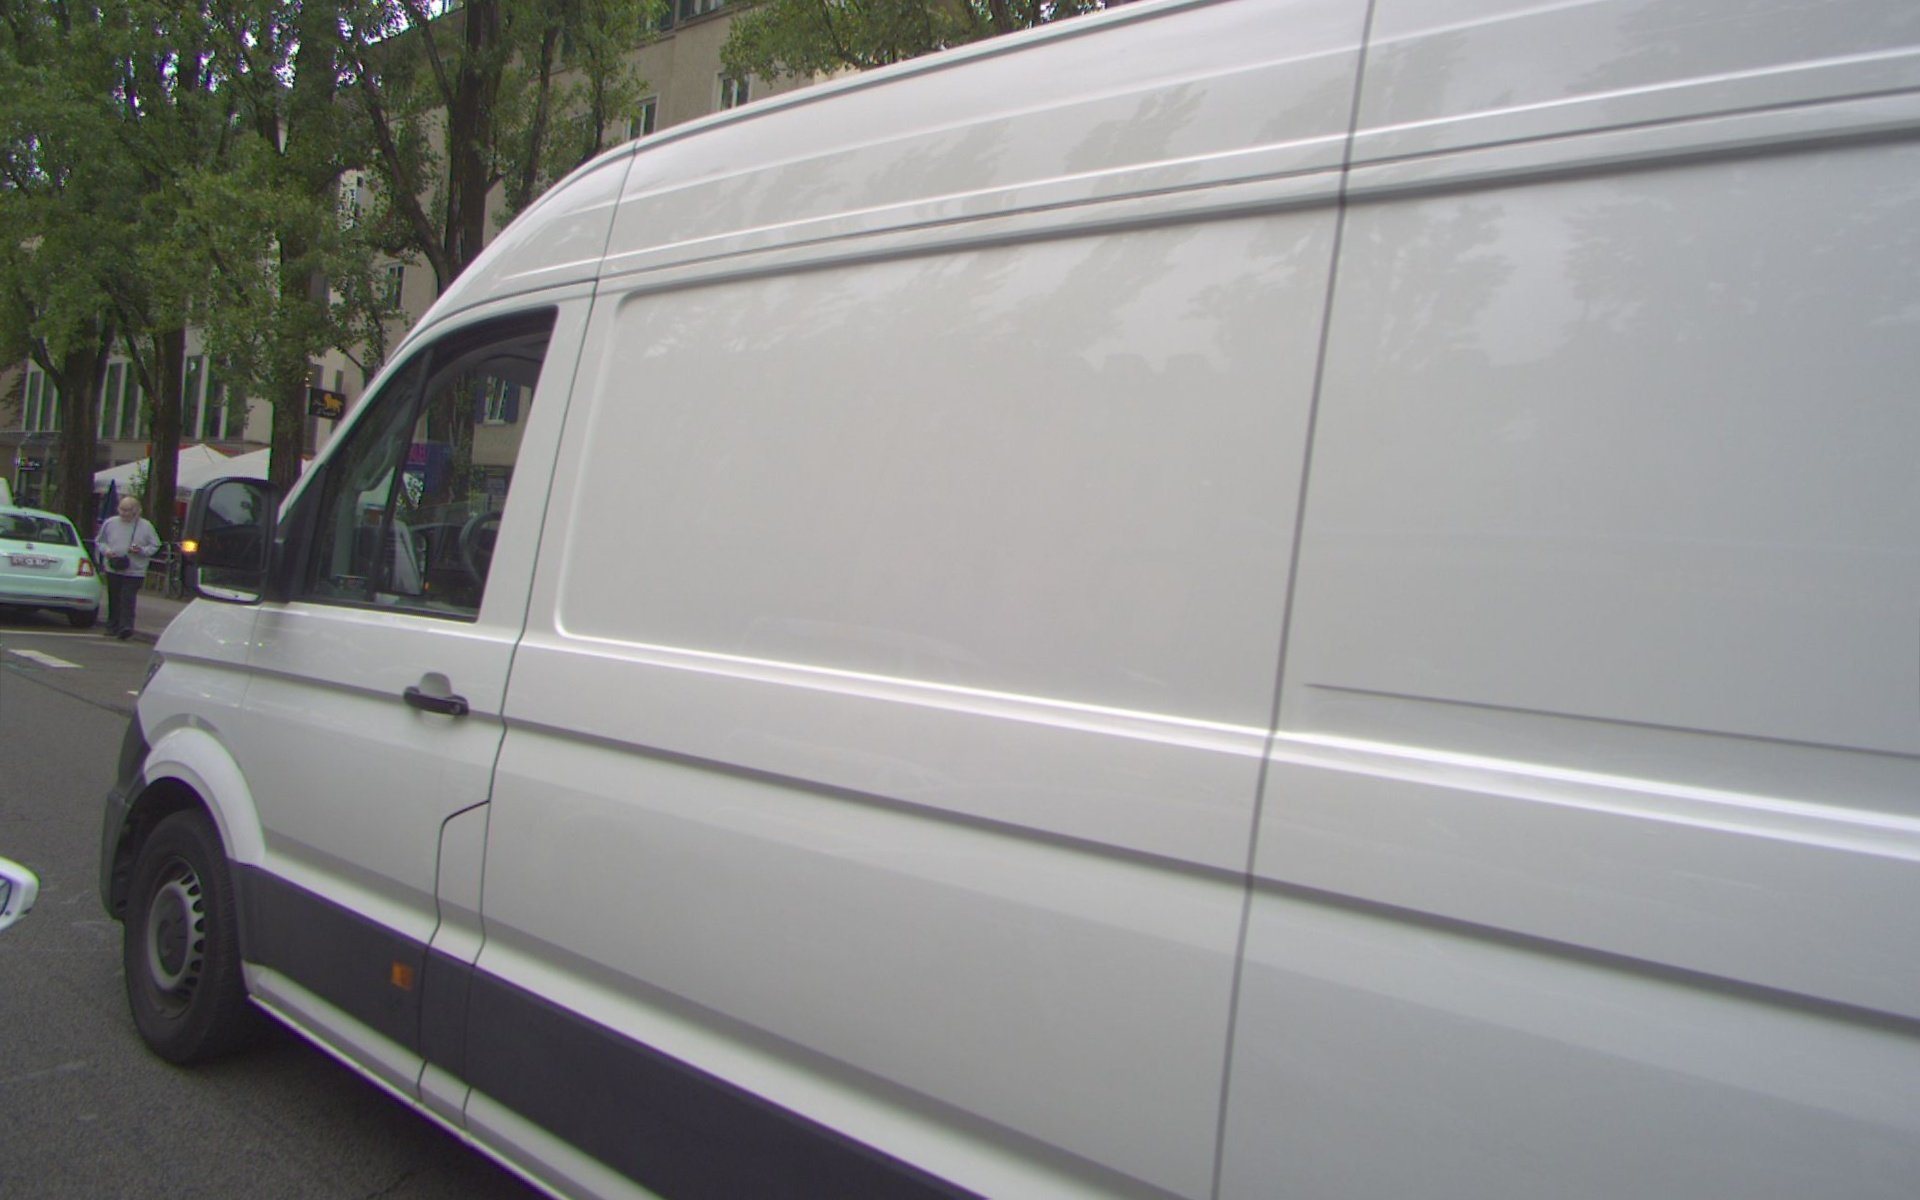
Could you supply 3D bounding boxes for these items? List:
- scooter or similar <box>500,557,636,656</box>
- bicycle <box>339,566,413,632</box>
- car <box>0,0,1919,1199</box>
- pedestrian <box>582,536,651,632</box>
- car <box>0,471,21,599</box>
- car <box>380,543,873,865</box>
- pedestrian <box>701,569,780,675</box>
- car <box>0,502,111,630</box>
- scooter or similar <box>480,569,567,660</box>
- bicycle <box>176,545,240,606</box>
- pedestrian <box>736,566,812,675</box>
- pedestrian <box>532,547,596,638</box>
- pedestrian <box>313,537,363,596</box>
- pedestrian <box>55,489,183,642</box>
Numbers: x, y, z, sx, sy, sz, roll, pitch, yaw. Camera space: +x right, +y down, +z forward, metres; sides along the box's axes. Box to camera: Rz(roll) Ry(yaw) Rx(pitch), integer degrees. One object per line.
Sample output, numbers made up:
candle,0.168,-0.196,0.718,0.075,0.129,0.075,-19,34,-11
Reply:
scooter or similar,-6.768,0.093,17.313,2.451,1.394,0.637,8,2,28
bicycle,-10.024,-0.025,17.252,1.429,1.009,0.349,6,2,28
car,0.251,0.294,2.310,6.619,2.522,2.066,6,-1,32
pedestrian,-7.283,-0.328,21.347,0.735,1.888,0.957,7,0,34
car,-17.271,-1.286,16.252,4.652,1.969,1.790,6,-1,32
car,-2.218,0.586,6.713,2.683,1.536,1.595,7,-1,30
pedestrian,-3.773,0.384,17.320,0.862,1.698,0.798,7,0,32
car,-13.168,-0.575,13.595,3.465,1.510,1.543,6,-1,33
scooter or similar,-6.641,0.209,15.286,1.419,1.231,0.327,6,2,28
bicycle,-14.058,-0.459,18.795,1.429,1.009,0.349,6,2,28
pedestrian,-3.329,0.369,17.983,0.862,1.818,0.772,7,0,32
pedestrian,-7.492,-0.135,19.040,0.855,1.627,0.617,7,2,29
pedestrian,-15.322,-0.814,24.782,0.787,1.340,0.639,7,1,31
pedestrian,-10.645,-0.422,12.774,0.817,1.795,0.868,6,0,-16
